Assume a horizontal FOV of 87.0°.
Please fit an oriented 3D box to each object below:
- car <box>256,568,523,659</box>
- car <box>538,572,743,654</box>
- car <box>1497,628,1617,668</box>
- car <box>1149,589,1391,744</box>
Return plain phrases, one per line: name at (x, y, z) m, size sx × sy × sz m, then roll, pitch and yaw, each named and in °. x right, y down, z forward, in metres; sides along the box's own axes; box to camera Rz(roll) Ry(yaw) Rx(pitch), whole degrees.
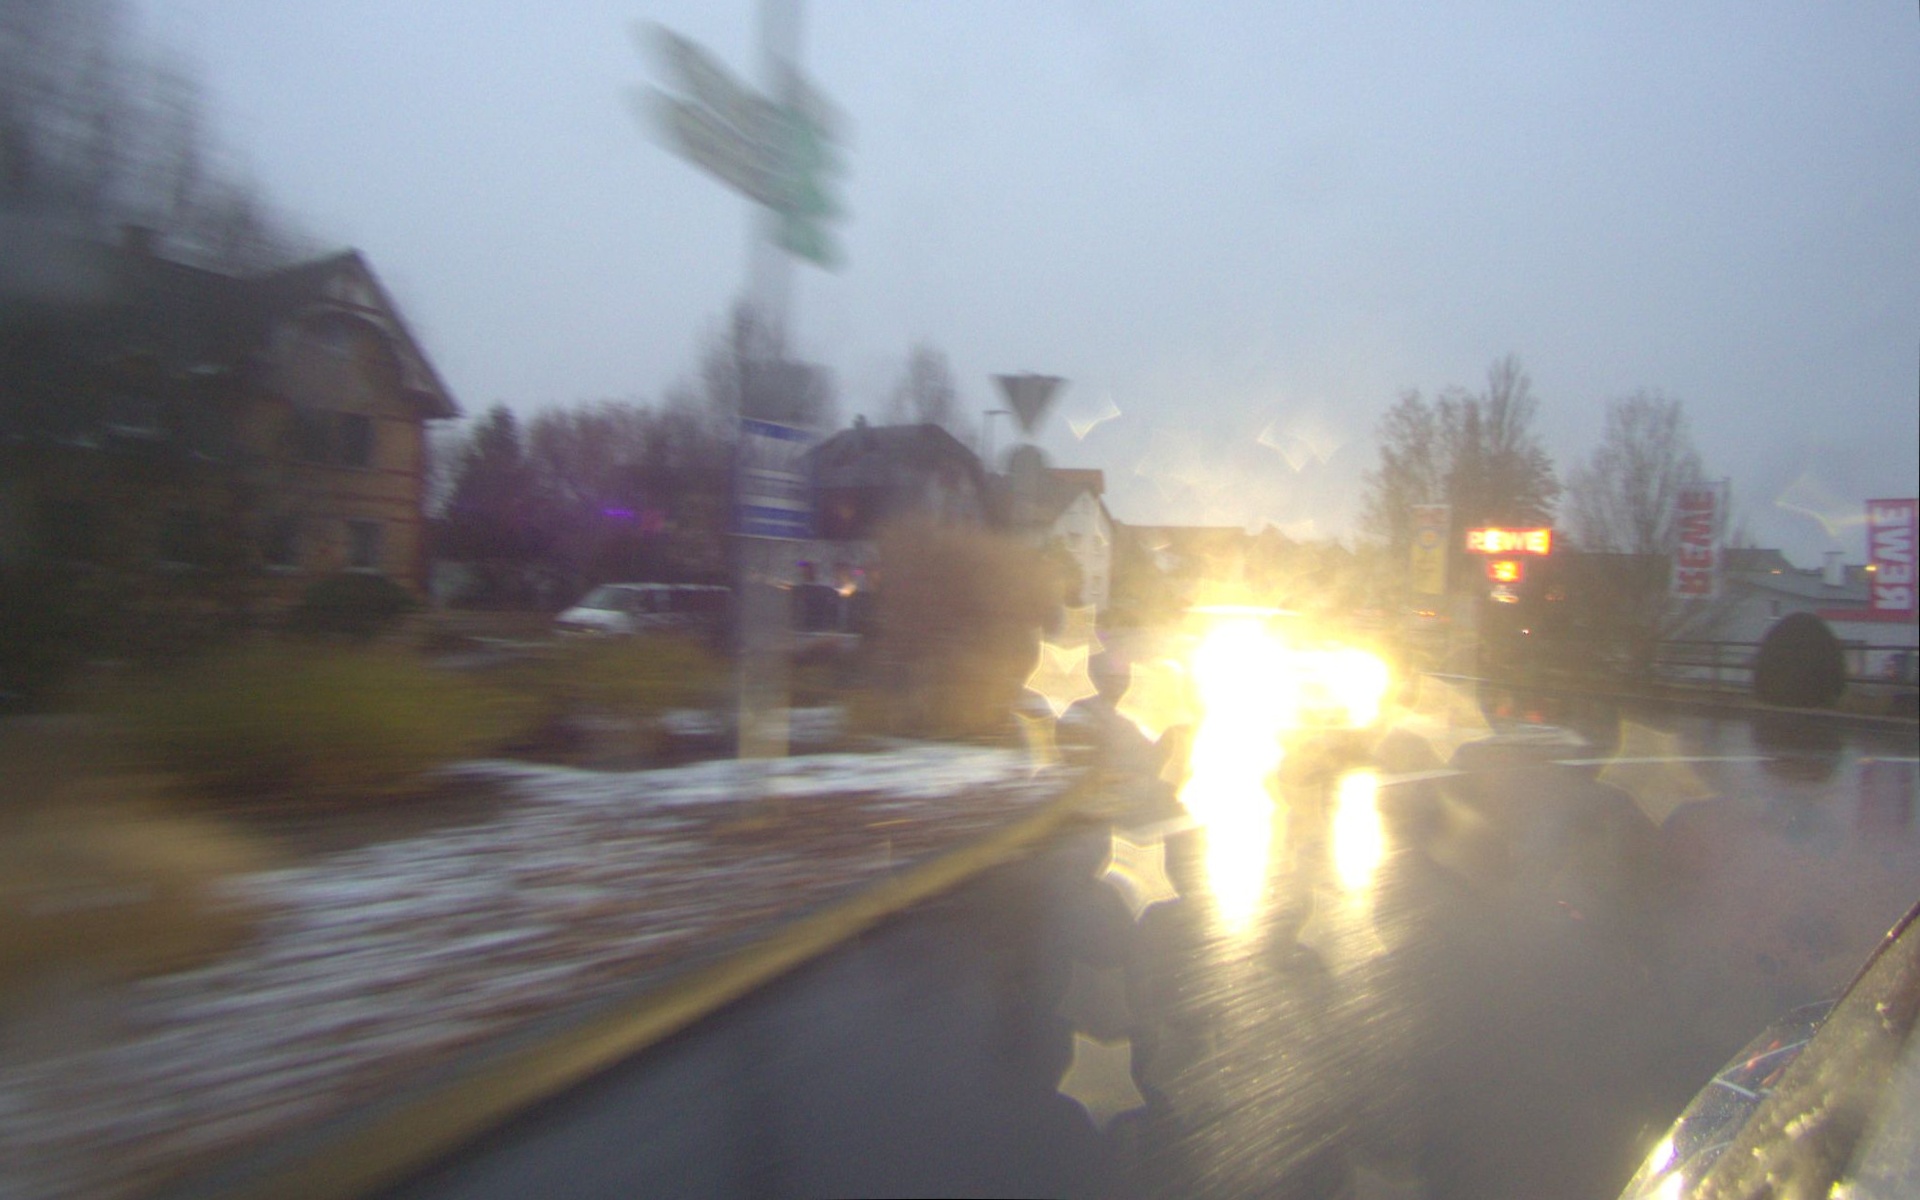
car at (-13.759, 0.216, 24.787) m, size 2.347 × 1.888 × 5.279 m, roll 3°, pitch 3°, yaw 29°
car at (-8.203, 0.333, 26.527) m, size 1.922 × 1.943 × 5.191 m, roll 0°, pitch -1°, yaw 30°
car at (24.281, 1.941, 41.244) m, size 3.879 × 1.420 × 1.610 m, roll 1°, pitch 0°, yaw 3°
car at (3.418, 0.667, 11.862) m, size 1.631 × 1.511 × 3.711 m, roll 1°, pitch -1°, yaw -1°
